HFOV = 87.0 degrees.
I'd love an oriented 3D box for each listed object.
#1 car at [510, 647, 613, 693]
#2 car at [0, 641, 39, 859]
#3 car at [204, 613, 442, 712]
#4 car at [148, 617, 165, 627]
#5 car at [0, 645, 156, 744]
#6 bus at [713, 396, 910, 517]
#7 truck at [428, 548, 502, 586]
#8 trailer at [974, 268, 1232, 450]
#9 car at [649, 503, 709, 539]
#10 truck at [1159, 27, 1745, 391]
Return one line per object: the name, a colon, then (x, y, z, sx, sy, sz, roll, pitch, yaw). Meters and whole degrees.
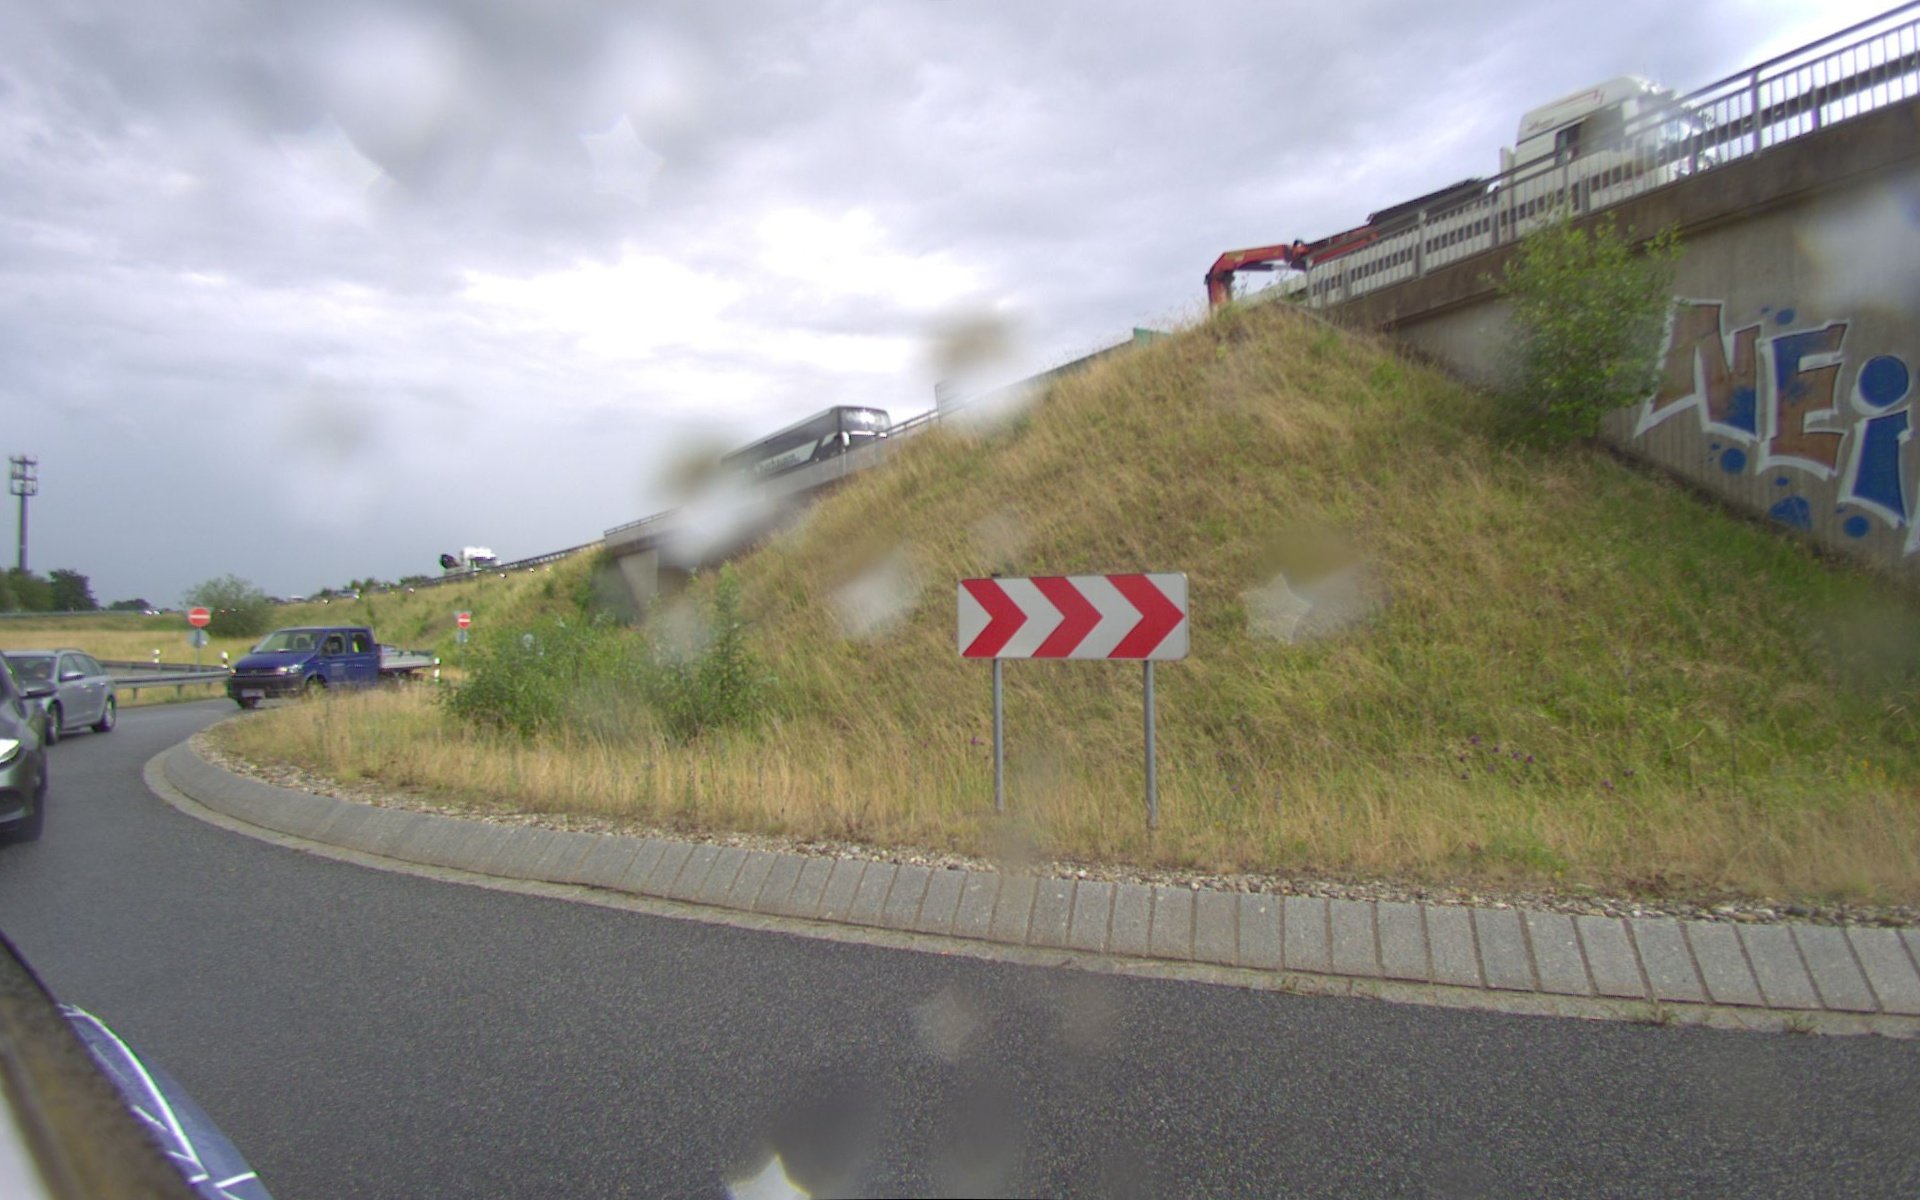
car: (-14.193, 2.477, 36.280, 1.556, 1.548, 3.913, -1, -3, 12)
car: (-8.332, 1.088, 7.588, 4.591, 1.402, 1.746, -4, -4, 43)
car: (-16.014, 1.474, 25.940, 1.872, 1.929, 5.668, -3, 1, 9)
car: (-146.080, 3.982, 183.979, 1.737, 1.656, 3.907, -1, -1, -27)
car: (-14.774, 1.494, 16.311, 1.767, 1.409, 4.363, 3, -5, -24)
bus: (-7.091, -5.965, 44.904, 2.569, 3.103, 14.501, -1, -1, -34)
truck: (-48.628, -3.126, 99.247, 9.274, 3.218, 3.118, -2, -1, 41)
trailer: (3.560, -6.302, 27.972, 2.150, 2.893, 8.355, -1, -1, -32)
car: (-16.646, -4.632, 59.747, 1.688, 1.536, 4.503, -13, 6, -37)
truck: (8.461, -6.737, 19.872, 2.169, 2.895, 10.857, -1, -1, -31)
